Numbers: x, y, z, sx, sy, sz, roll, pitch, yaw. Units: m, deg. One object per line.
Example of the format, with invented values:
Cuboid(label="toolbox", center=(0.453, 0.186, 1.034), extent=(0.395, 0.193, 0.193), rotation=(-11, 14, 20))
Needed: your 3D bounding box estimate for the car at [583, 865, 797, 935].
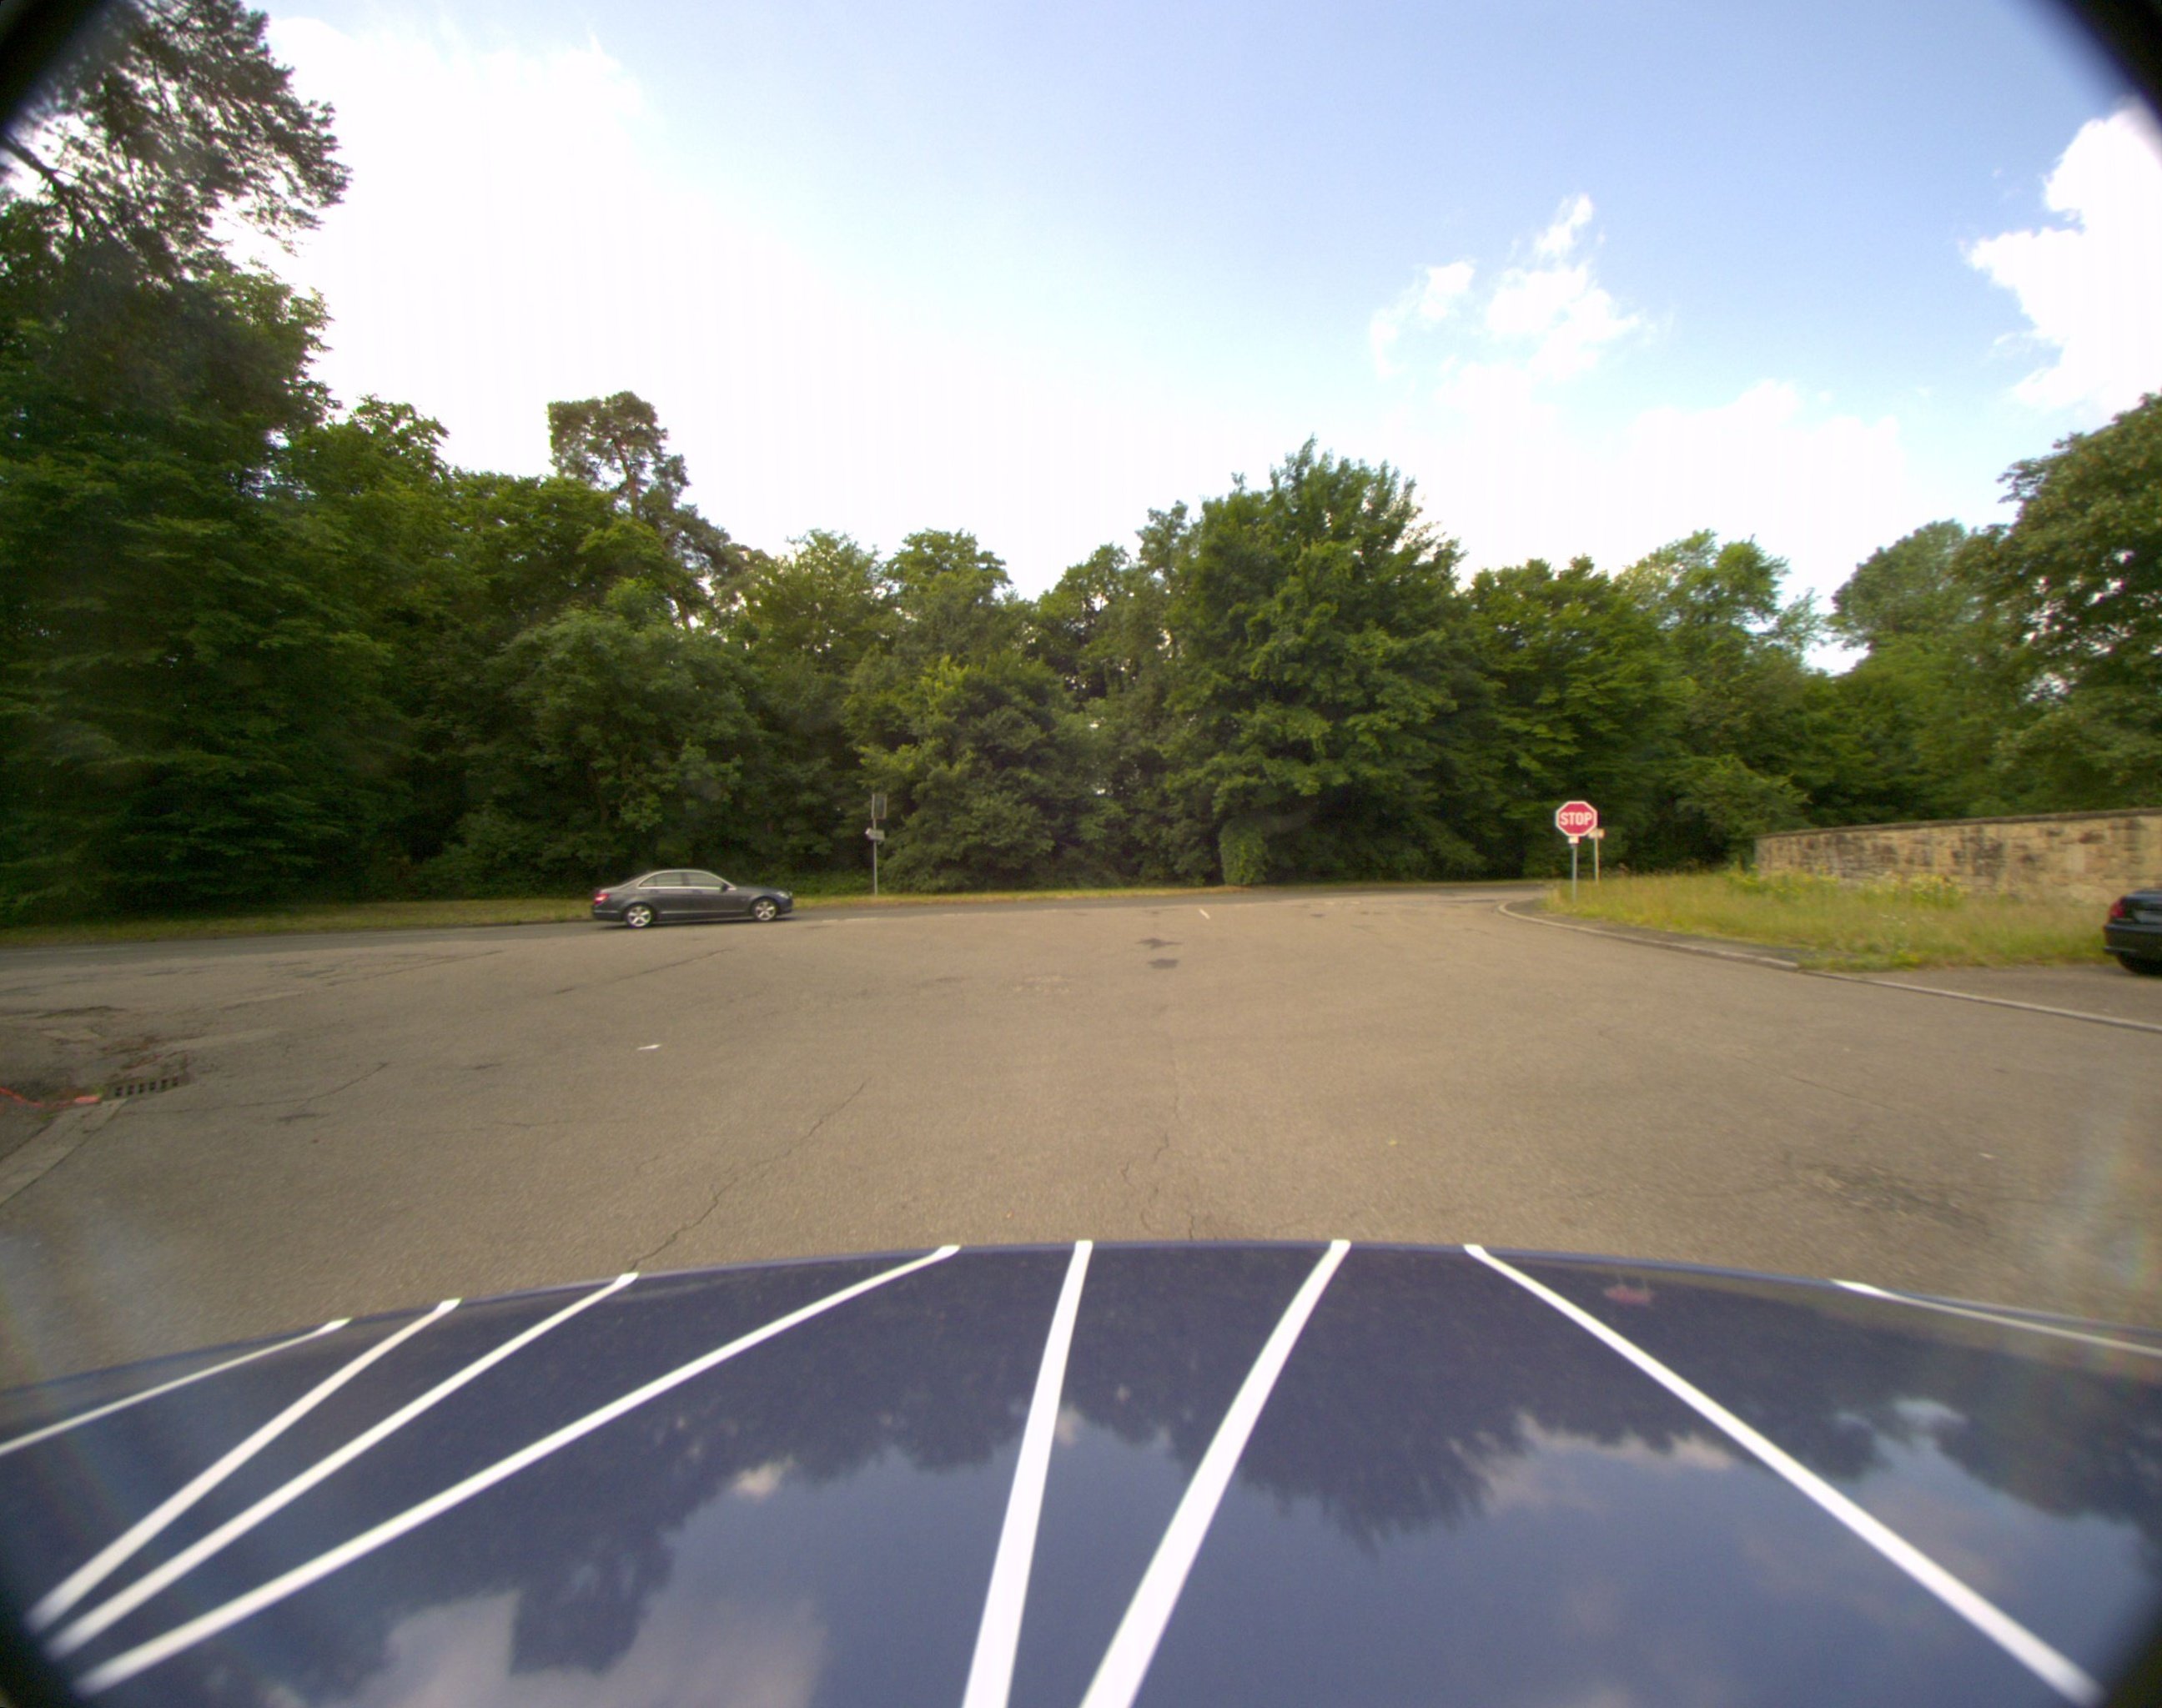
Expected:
Cuboid(label="car", center=(-9.673, 1.084, 19.140), extent=(4.535, 1.455, 1.963), rotation=(-2, -1, -26))

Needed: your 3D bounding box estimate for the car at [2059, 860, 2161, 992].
Cuboid(label="car", center=(14.166, 0.752, 8.347), extent=(3.995, 1.433, 1.881), rotation=(-3, 0, 8))
